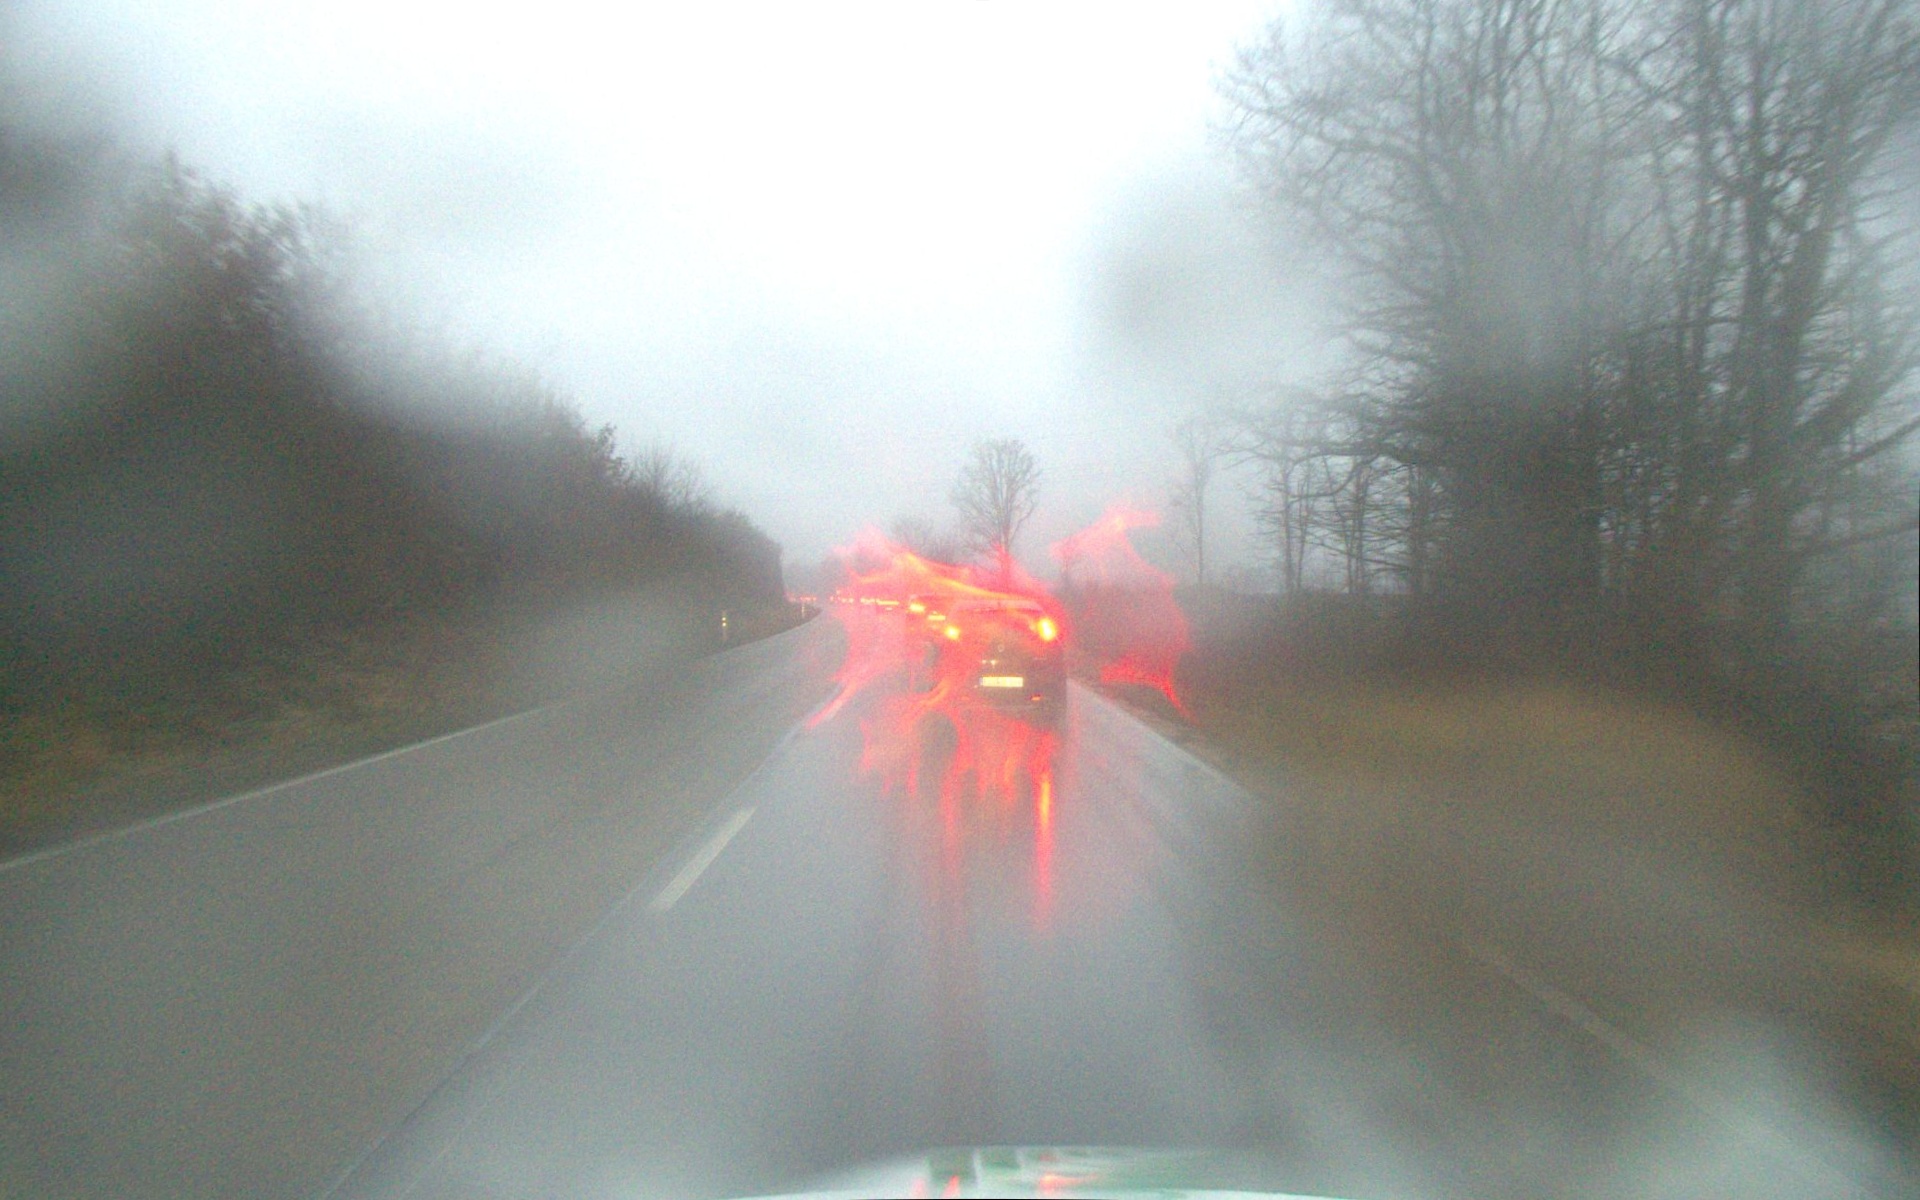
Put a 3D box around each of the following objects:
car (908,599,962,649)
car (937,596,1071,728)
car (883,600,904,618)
[{"bbox_3d":[-0.756,0.681,49.221,1.515,1.421,3.868,1,0,-1],"label":"car"},{"bbox_3d":[0.533,0.733,21.489,1.569,1.549,3.869,1,0,0],"label":"car"},{"bbox_3d":[-5.574,0.744,138.449,1.515,1.421,3.870,1,0,1],"label":"car"}]
